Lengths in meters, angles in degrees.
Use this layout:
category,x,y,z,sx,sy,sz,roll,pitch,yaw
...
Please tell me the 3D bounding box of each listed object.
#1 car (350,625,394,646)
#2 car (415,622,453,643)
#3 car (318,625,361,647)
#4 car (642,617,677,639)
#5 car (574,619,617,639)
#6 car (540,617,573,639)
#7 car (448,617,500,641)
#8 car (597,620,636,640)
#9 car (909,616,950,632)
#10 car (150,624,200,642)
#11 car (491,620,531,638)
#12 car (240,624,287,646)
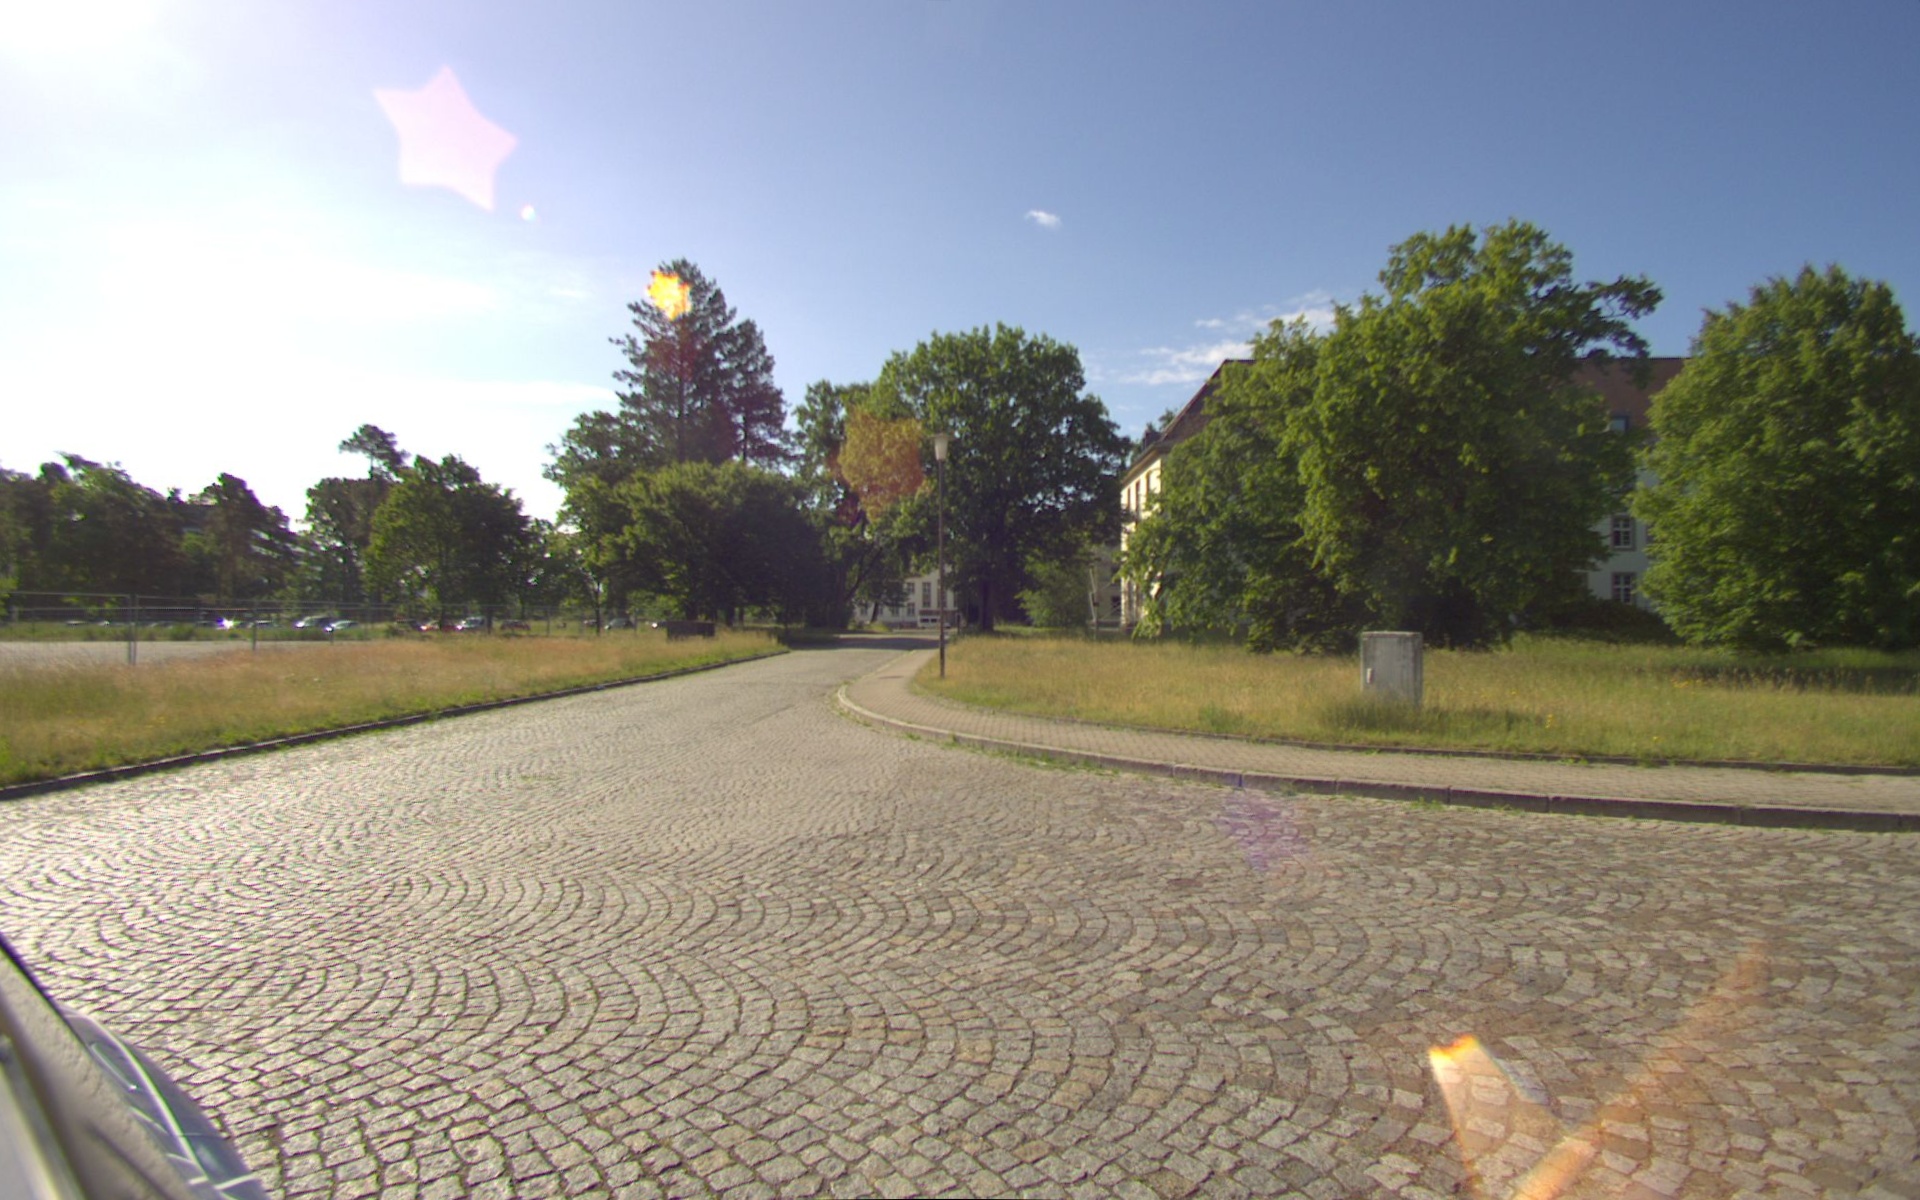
category,x,y,z,sx,sy,sz,roll,pitch,yaw
car,-56.918,3.410,97.983,1.972,2.029,4.000,0,-1,-1
car,-50.290,3.086,96.780,1.718,2.029,3.619,0,-1,0
car,-59.183,3.392,96.638,1.718,2.029,3.851,0,-1,0
car,-28.372,2.613,95.764,2.214,2.029,4.351,0,-1,-3
car,-34.912,2.734,97.025,2.219,1.853,4.343,0,-1,5
car,-38.773,2.690,97.416,1.718,2.029,3.619,0,-1,0
car,-46.573,2.790,97.101,1.973,2.029,6.032,-2,0,1
car,-32.588,2.842,96.137,2.217,1.853,4.347,0,-1,2
car,-4.773,3.779,158.801,6.363,2.485,2.461,0,-1,2
car,-75.301,3.111,97.176,1.719,1.671,3.848,0,-1,2
car,-42.843,2.734,96.638,1.972,1.664,3.999,0,-1,0
car,-66.850,3.353,97.163,1.719,2.029,3.848,0,-1,2
